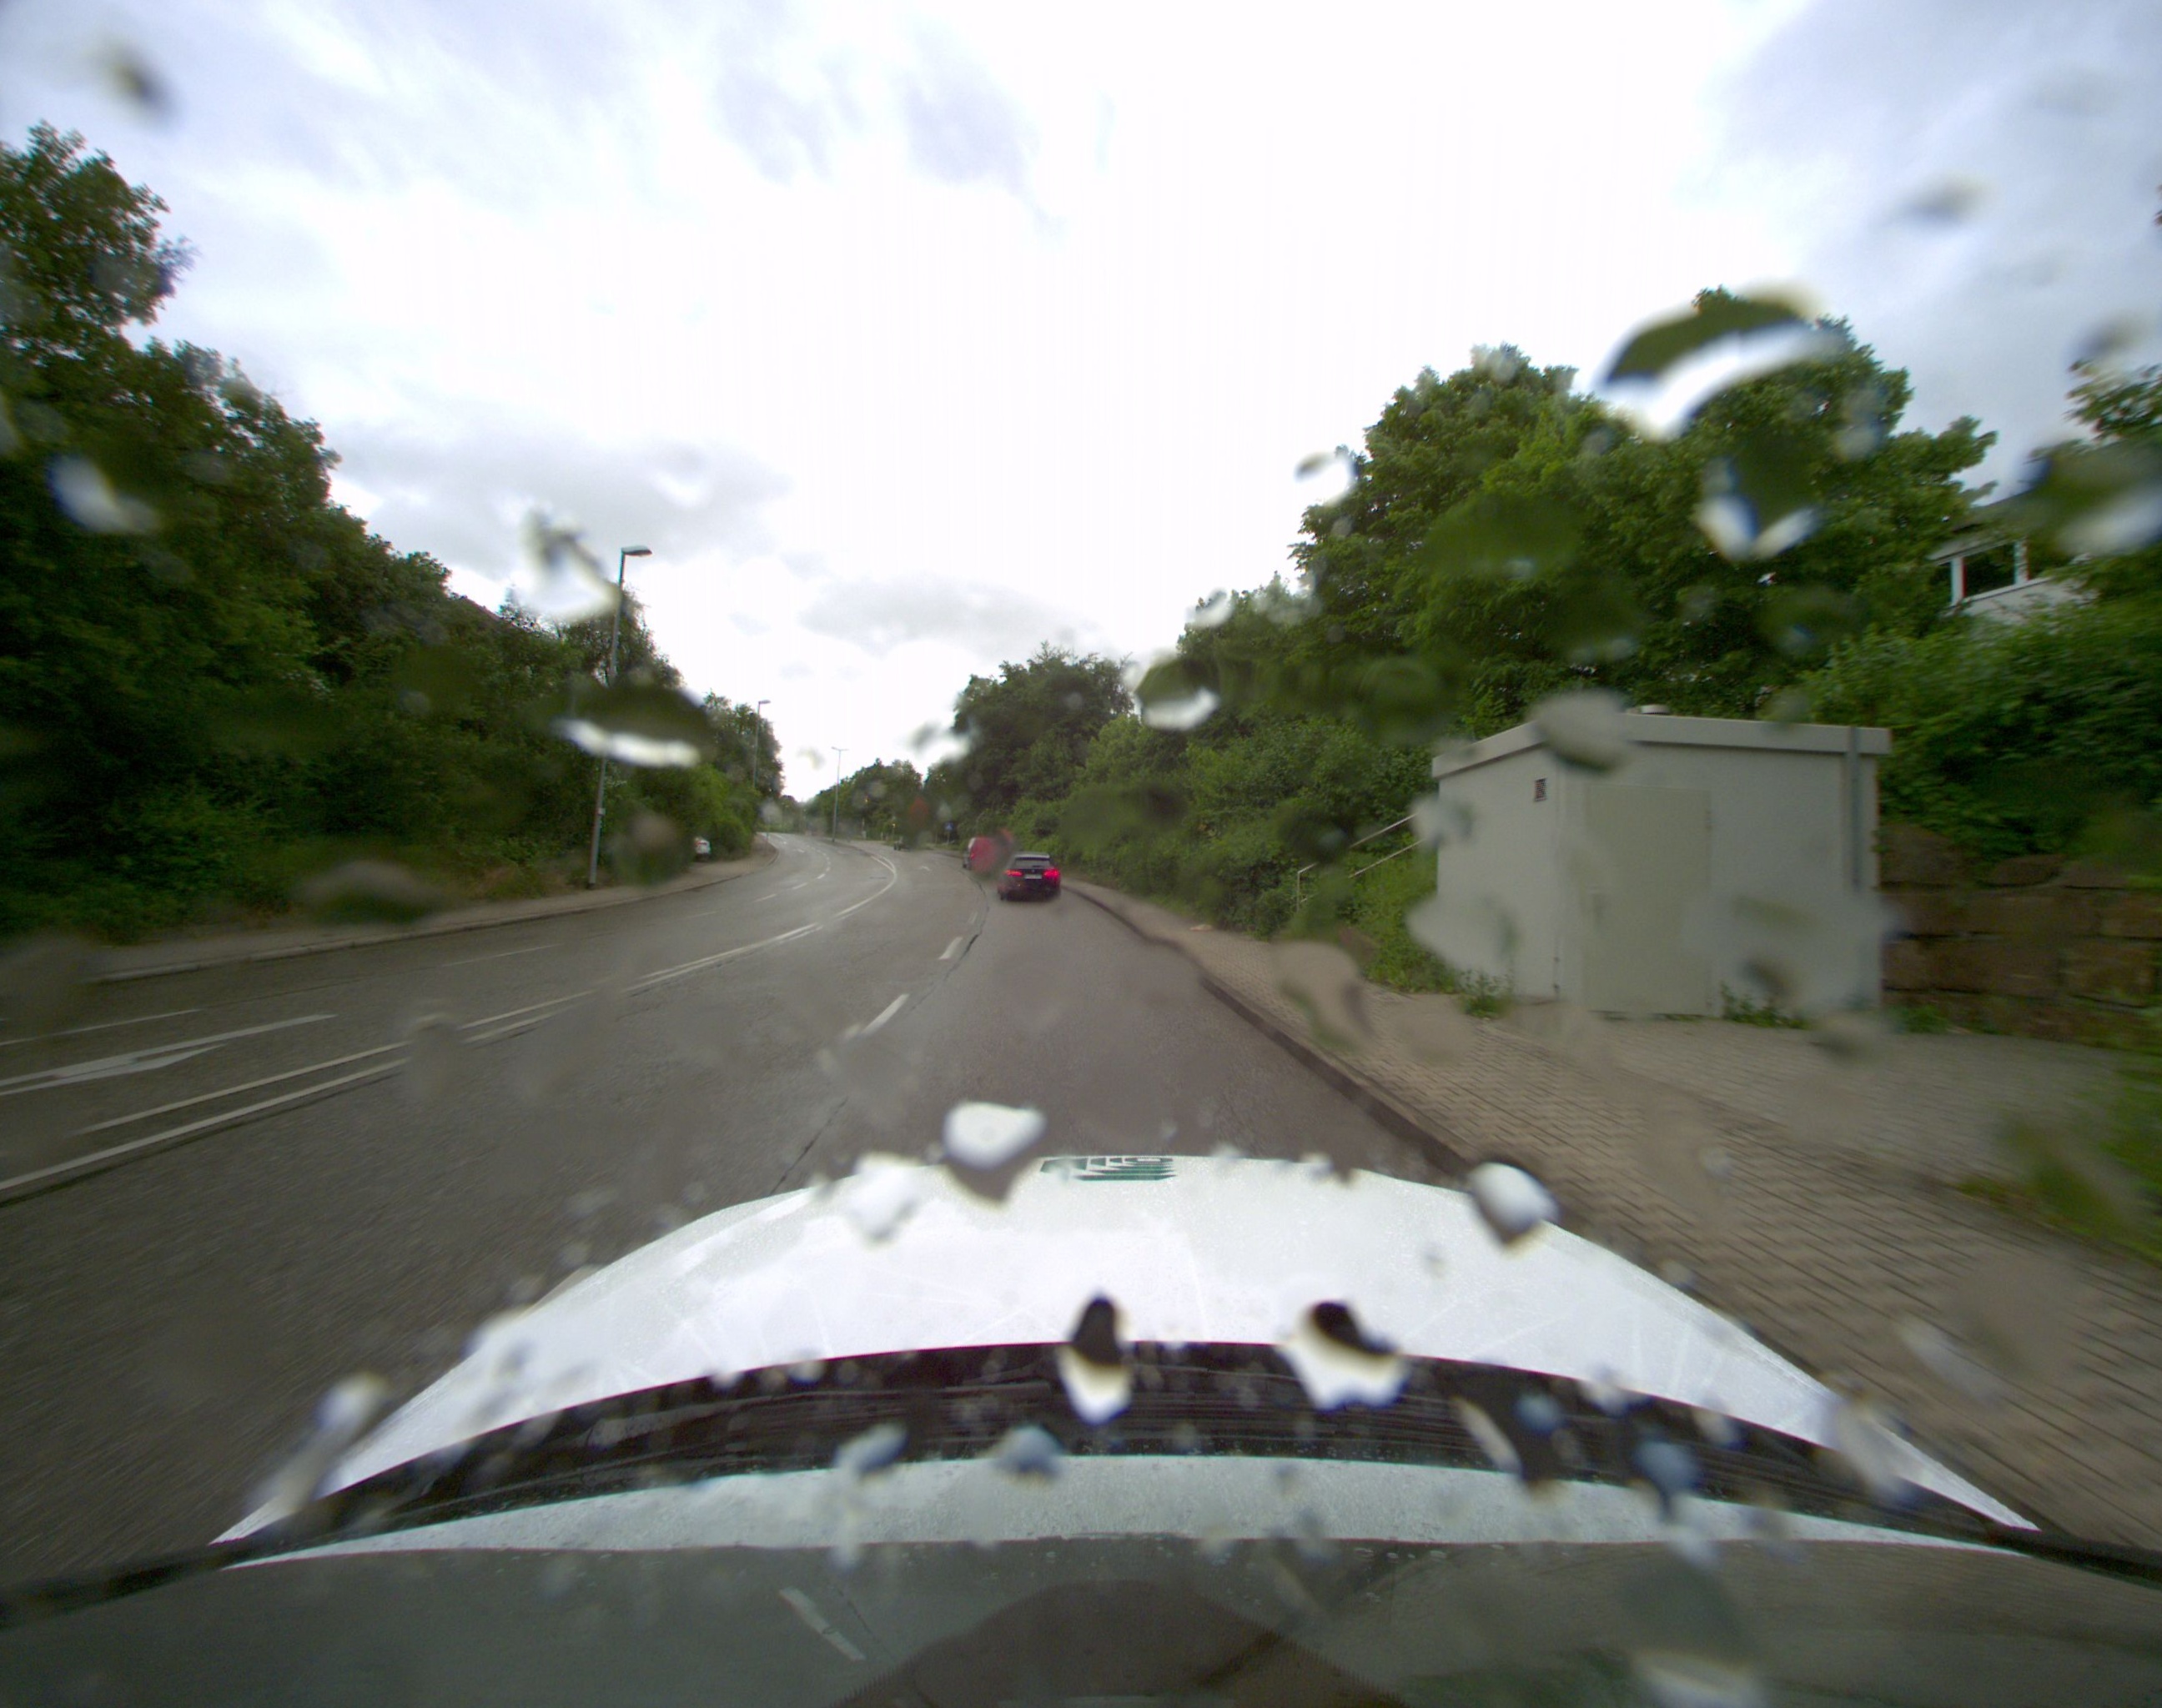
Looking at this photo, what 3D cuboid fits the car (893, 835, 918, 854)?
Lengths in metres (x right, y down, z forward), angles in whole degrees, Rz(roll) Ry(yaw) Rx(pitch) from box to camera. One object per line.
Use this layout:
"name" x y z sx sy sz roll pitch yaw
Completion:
"car" -18.117 -0.964 84.001 1.857 1.662 3.972 3 -3 -20

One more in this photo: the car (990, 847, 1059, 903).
"car" -1.867 0.644 26.544 1.990 1.586 4.655 3 0 -5

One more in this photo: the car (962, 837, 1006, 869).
"car" -5.593 -0.075 46.613 1.996 1.748 3.982 1 0 -14

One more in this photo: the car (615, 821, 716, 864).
"car" -20.130 -0.560 39.646 3.998 1.447 1.844 9 -2 -19
